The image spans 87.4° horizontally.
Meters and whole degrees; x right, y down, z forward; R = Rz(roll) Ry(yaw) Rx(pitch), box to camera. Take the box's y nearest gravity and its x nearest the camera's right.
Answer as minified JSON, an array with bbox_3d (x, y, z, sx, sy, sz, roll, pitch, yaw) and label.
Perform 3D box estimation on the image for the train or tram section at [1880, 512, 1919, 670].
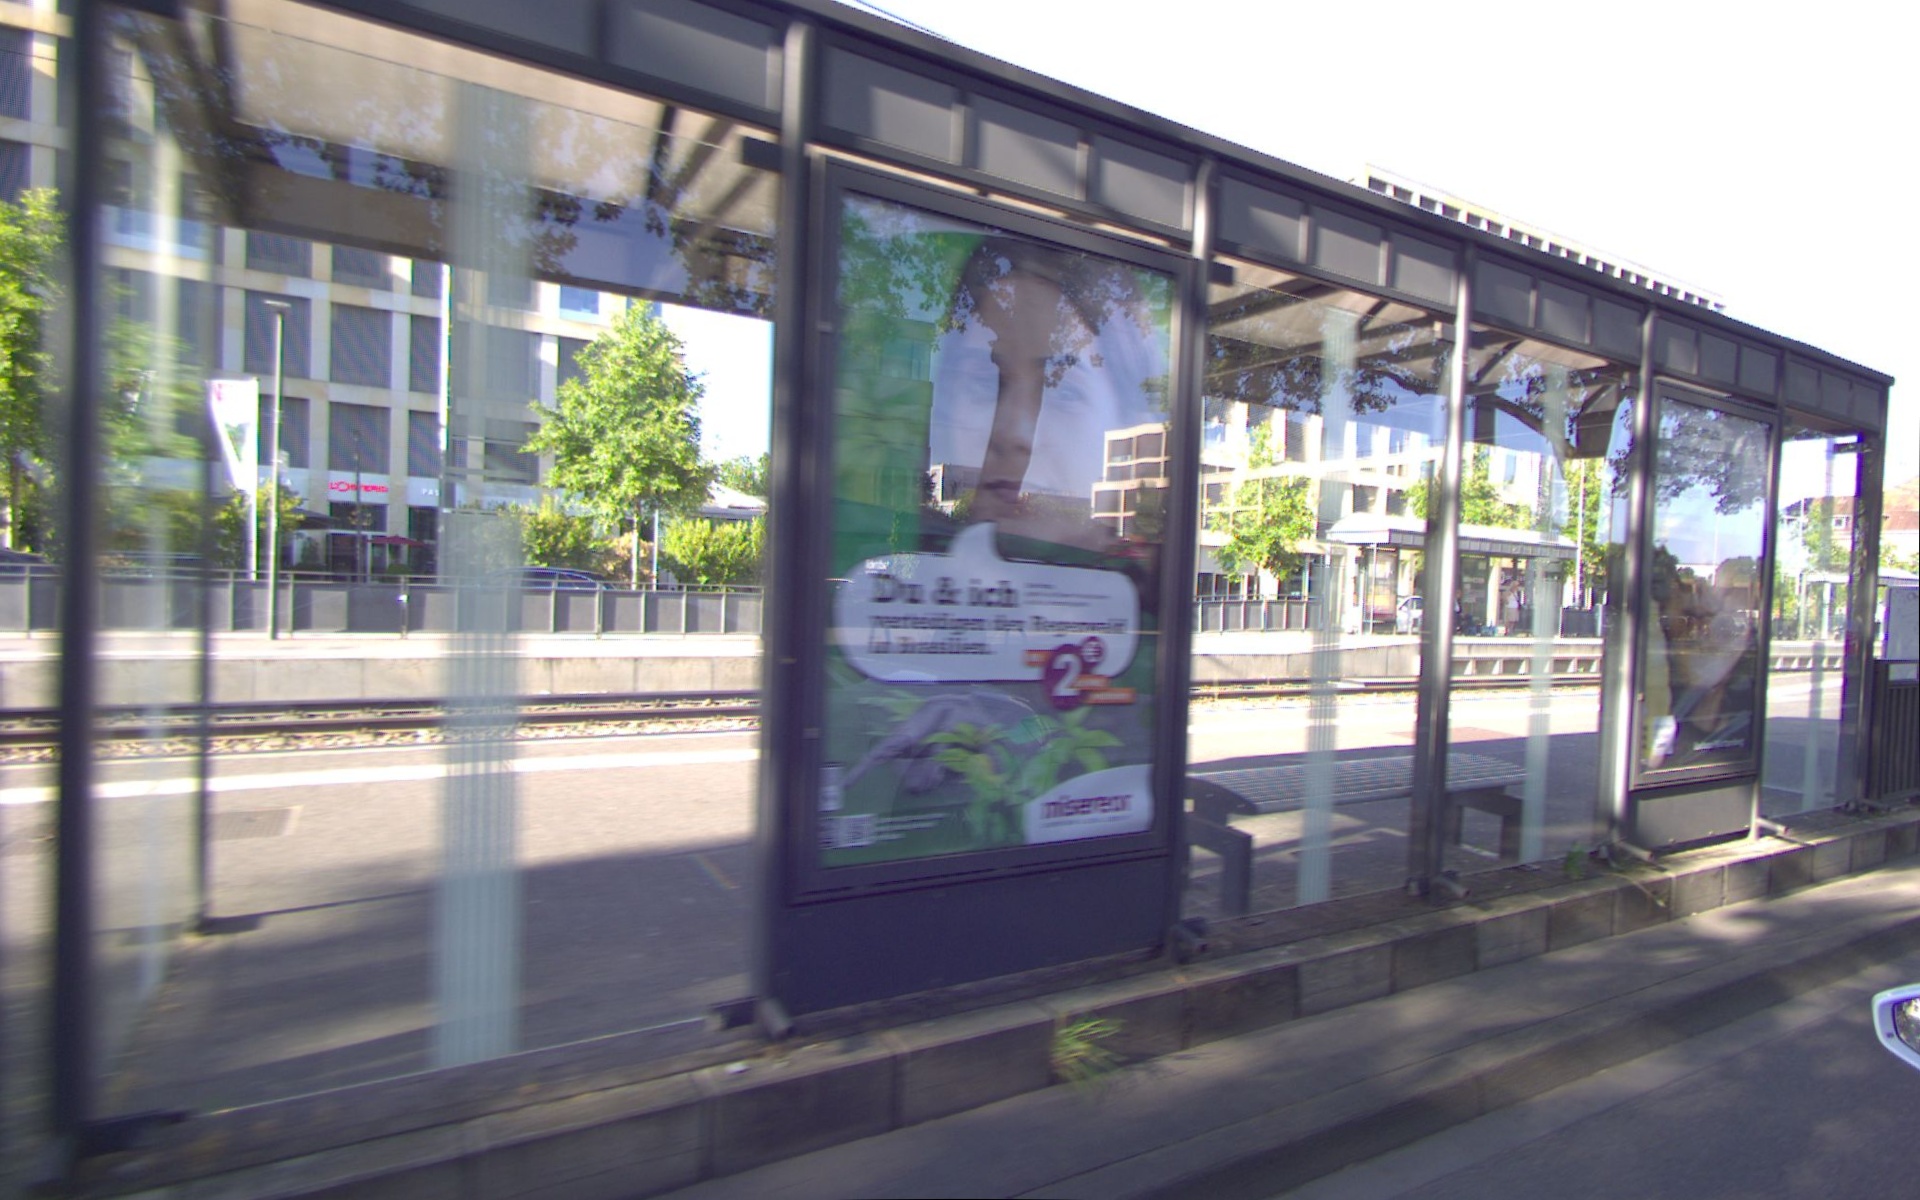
[{"bbox_3d":[30.198,-0.004,27.502,14.053,3.881,3.292,2,1,-31],"label":"train or tram section"}]

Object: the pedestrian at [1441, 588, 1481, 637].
[{"bbox_3d":[13.687,0.343,27.460,0.715,1.277,0.612,2,1,-26],"label":"pedestrian"}]

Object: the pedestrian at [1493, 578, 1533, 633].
[{"bbox_3d":[15.862,0.158,28.822,0.714,1.548,0.613,2,1,-21],"label":"pedestrian"}]
